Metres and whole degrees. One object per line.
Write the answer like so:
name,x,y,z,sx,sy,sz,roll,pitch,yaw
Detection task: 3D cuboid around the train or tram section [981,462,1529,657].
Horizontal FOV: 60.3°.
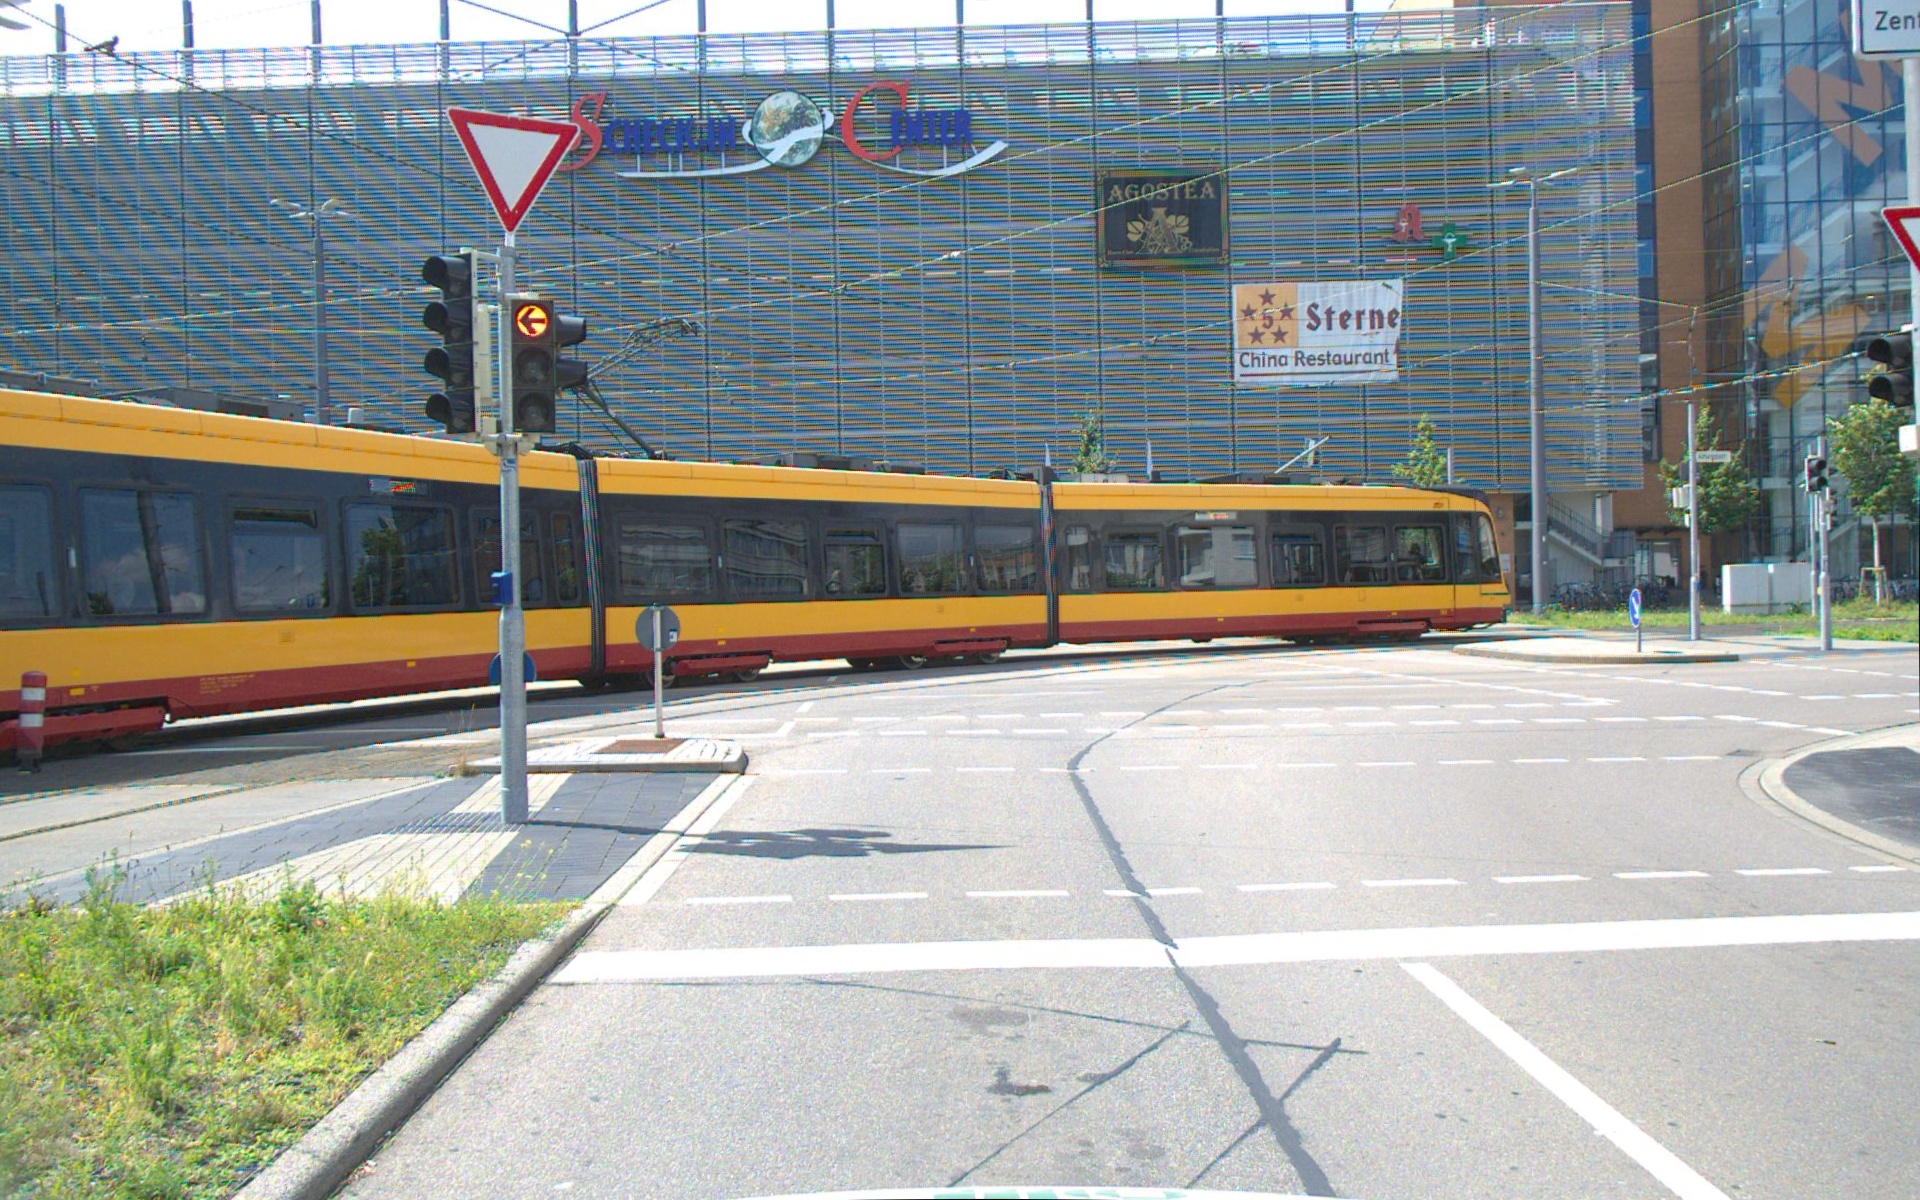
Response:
train or tram section,6.621,-0.863,35.651,12.448,3.684,3.038,-1,1,-28

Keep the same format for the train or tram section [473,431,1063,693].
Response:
train or tram section,-2.718,-0.625,28.322,3.009,3.666,10.932,0,1,41

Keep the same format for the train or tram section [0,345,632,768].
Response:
train or tram section,-8.587,-0.424,18.032,3.150,3.662,13.502,0,1,21
